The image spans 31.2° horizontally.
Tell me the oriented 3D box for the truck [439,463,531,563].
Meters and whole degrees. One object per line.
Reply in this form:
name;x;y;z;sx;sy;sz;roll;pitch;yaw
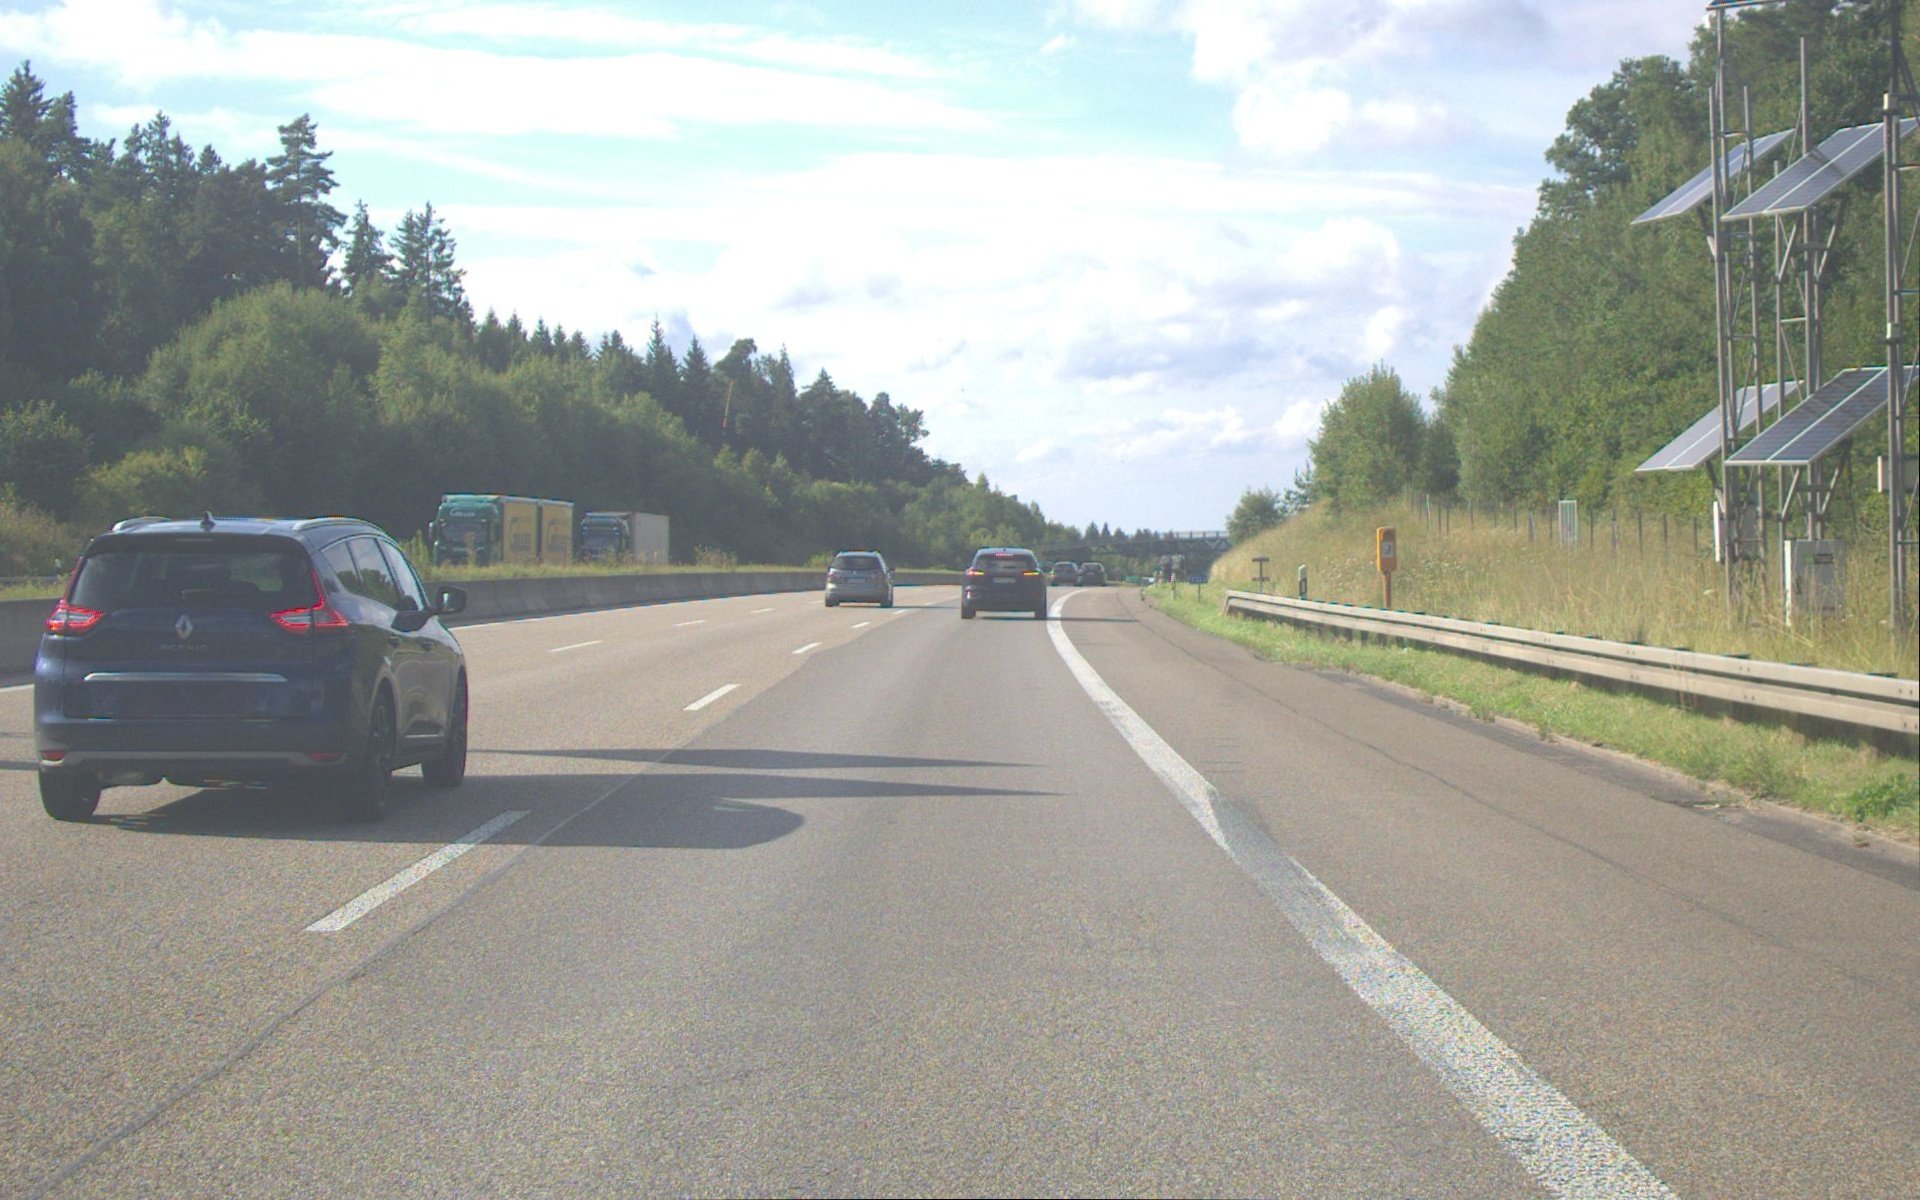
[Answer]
truck;-19.850;-3.624;144.068;2.649;4.072;6.416;0;1;3

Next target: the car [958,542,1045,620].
car;0.984;-0.457;78.981;1.874;1.669;3.890;1;2;2

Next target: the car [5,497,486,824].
car;-4.063;0.280;20.319;1.993;1.701;4.529;0;1;-1

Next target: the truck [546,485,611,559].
truck;-19.786;-4.072;178.611;2.693;3.736;5.170;1;1;0

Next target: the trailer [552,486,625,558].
trailer;-19.751;-4.159;183.290;2.679;3.705;10.006;1;1;1

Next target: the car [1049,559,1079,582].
car;7.210;-2.036;238.322;1.874;1.492;3.879;1;2;5

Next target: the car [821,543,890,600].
car;-2.922;-0.818;96.278;1.873;1.492;3.880;1;2;-2

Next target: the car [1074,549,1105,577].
car;8.264;-2.357;219.969;1.812;1.700;4.000;0;2;0
